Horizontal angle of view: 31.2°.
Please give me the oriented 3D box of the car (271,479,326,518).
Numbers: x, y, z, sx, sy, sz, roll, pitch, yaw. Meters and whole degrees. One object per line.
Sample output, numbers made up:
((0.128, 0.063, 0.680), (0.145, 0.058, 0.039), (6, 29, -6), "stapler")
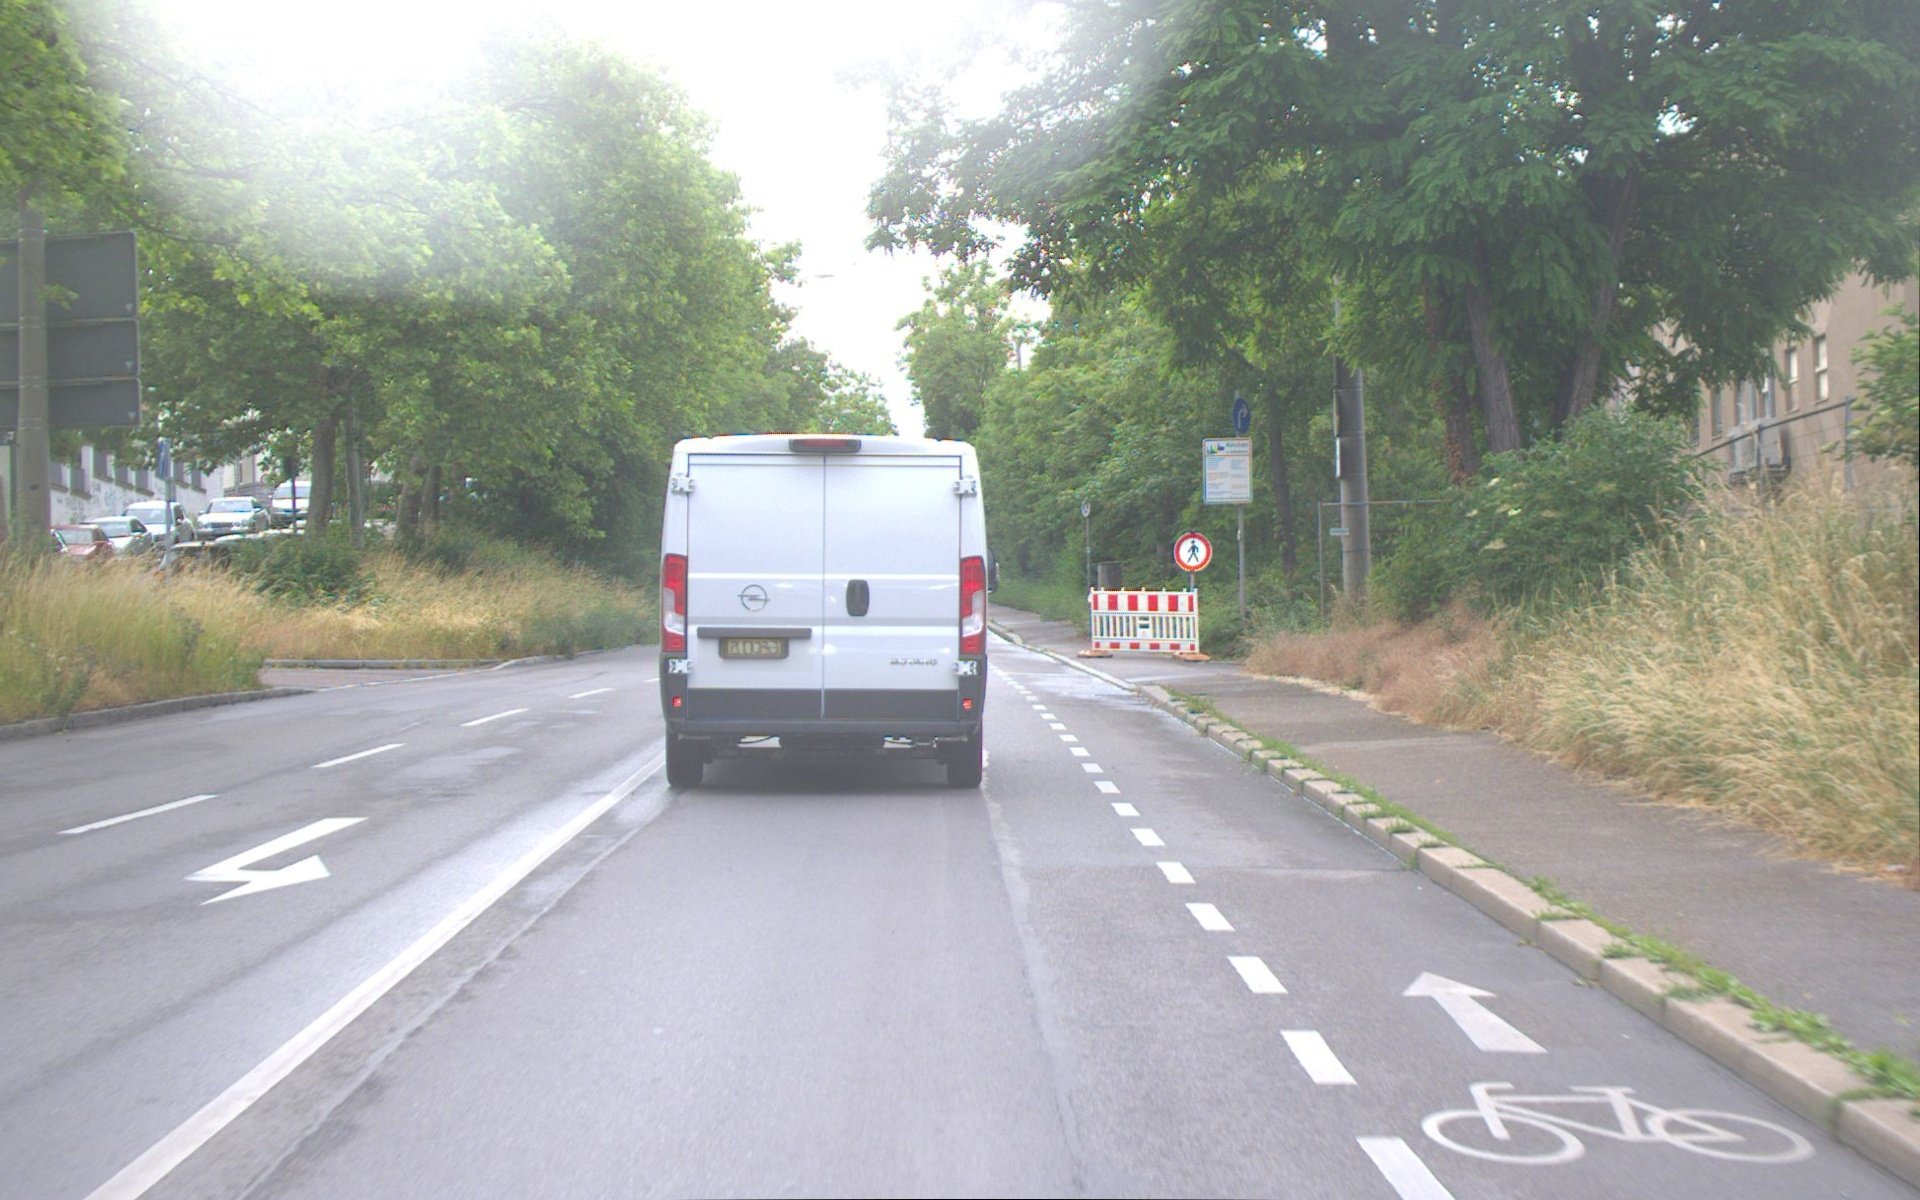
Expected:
((-23.826, -3.657, 123.890), (1.599, 1.246, 2.911), (-1, -1, -4), "car")

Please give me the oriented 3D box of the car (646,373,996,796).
((-0.891, -0.142, 23.428), (2.050, 2.508, 4.944), (2, 1, -1), "car")

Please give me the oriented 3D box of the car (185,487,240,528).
((-23.293, -2.888, 107.209), (1.213, 1.129, 2.452), (-1, -1, -2), "car")

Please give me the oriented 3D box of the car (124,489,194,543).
((-21.658, -2.253, 93.065), (1.382, 1.294, 3.015), (-1, -1, -4), "car")

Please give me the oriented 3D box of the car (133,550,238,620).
((-13.519, -0.250, 60.077), (1.350, 1.127, 2.753), (-1, -1, -3), "car")

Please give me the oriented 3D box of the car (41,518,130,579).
((-20.867, -1.218, 82.123), (1.360, 1.305, 3.086), (-1, -1, -1), "car")
